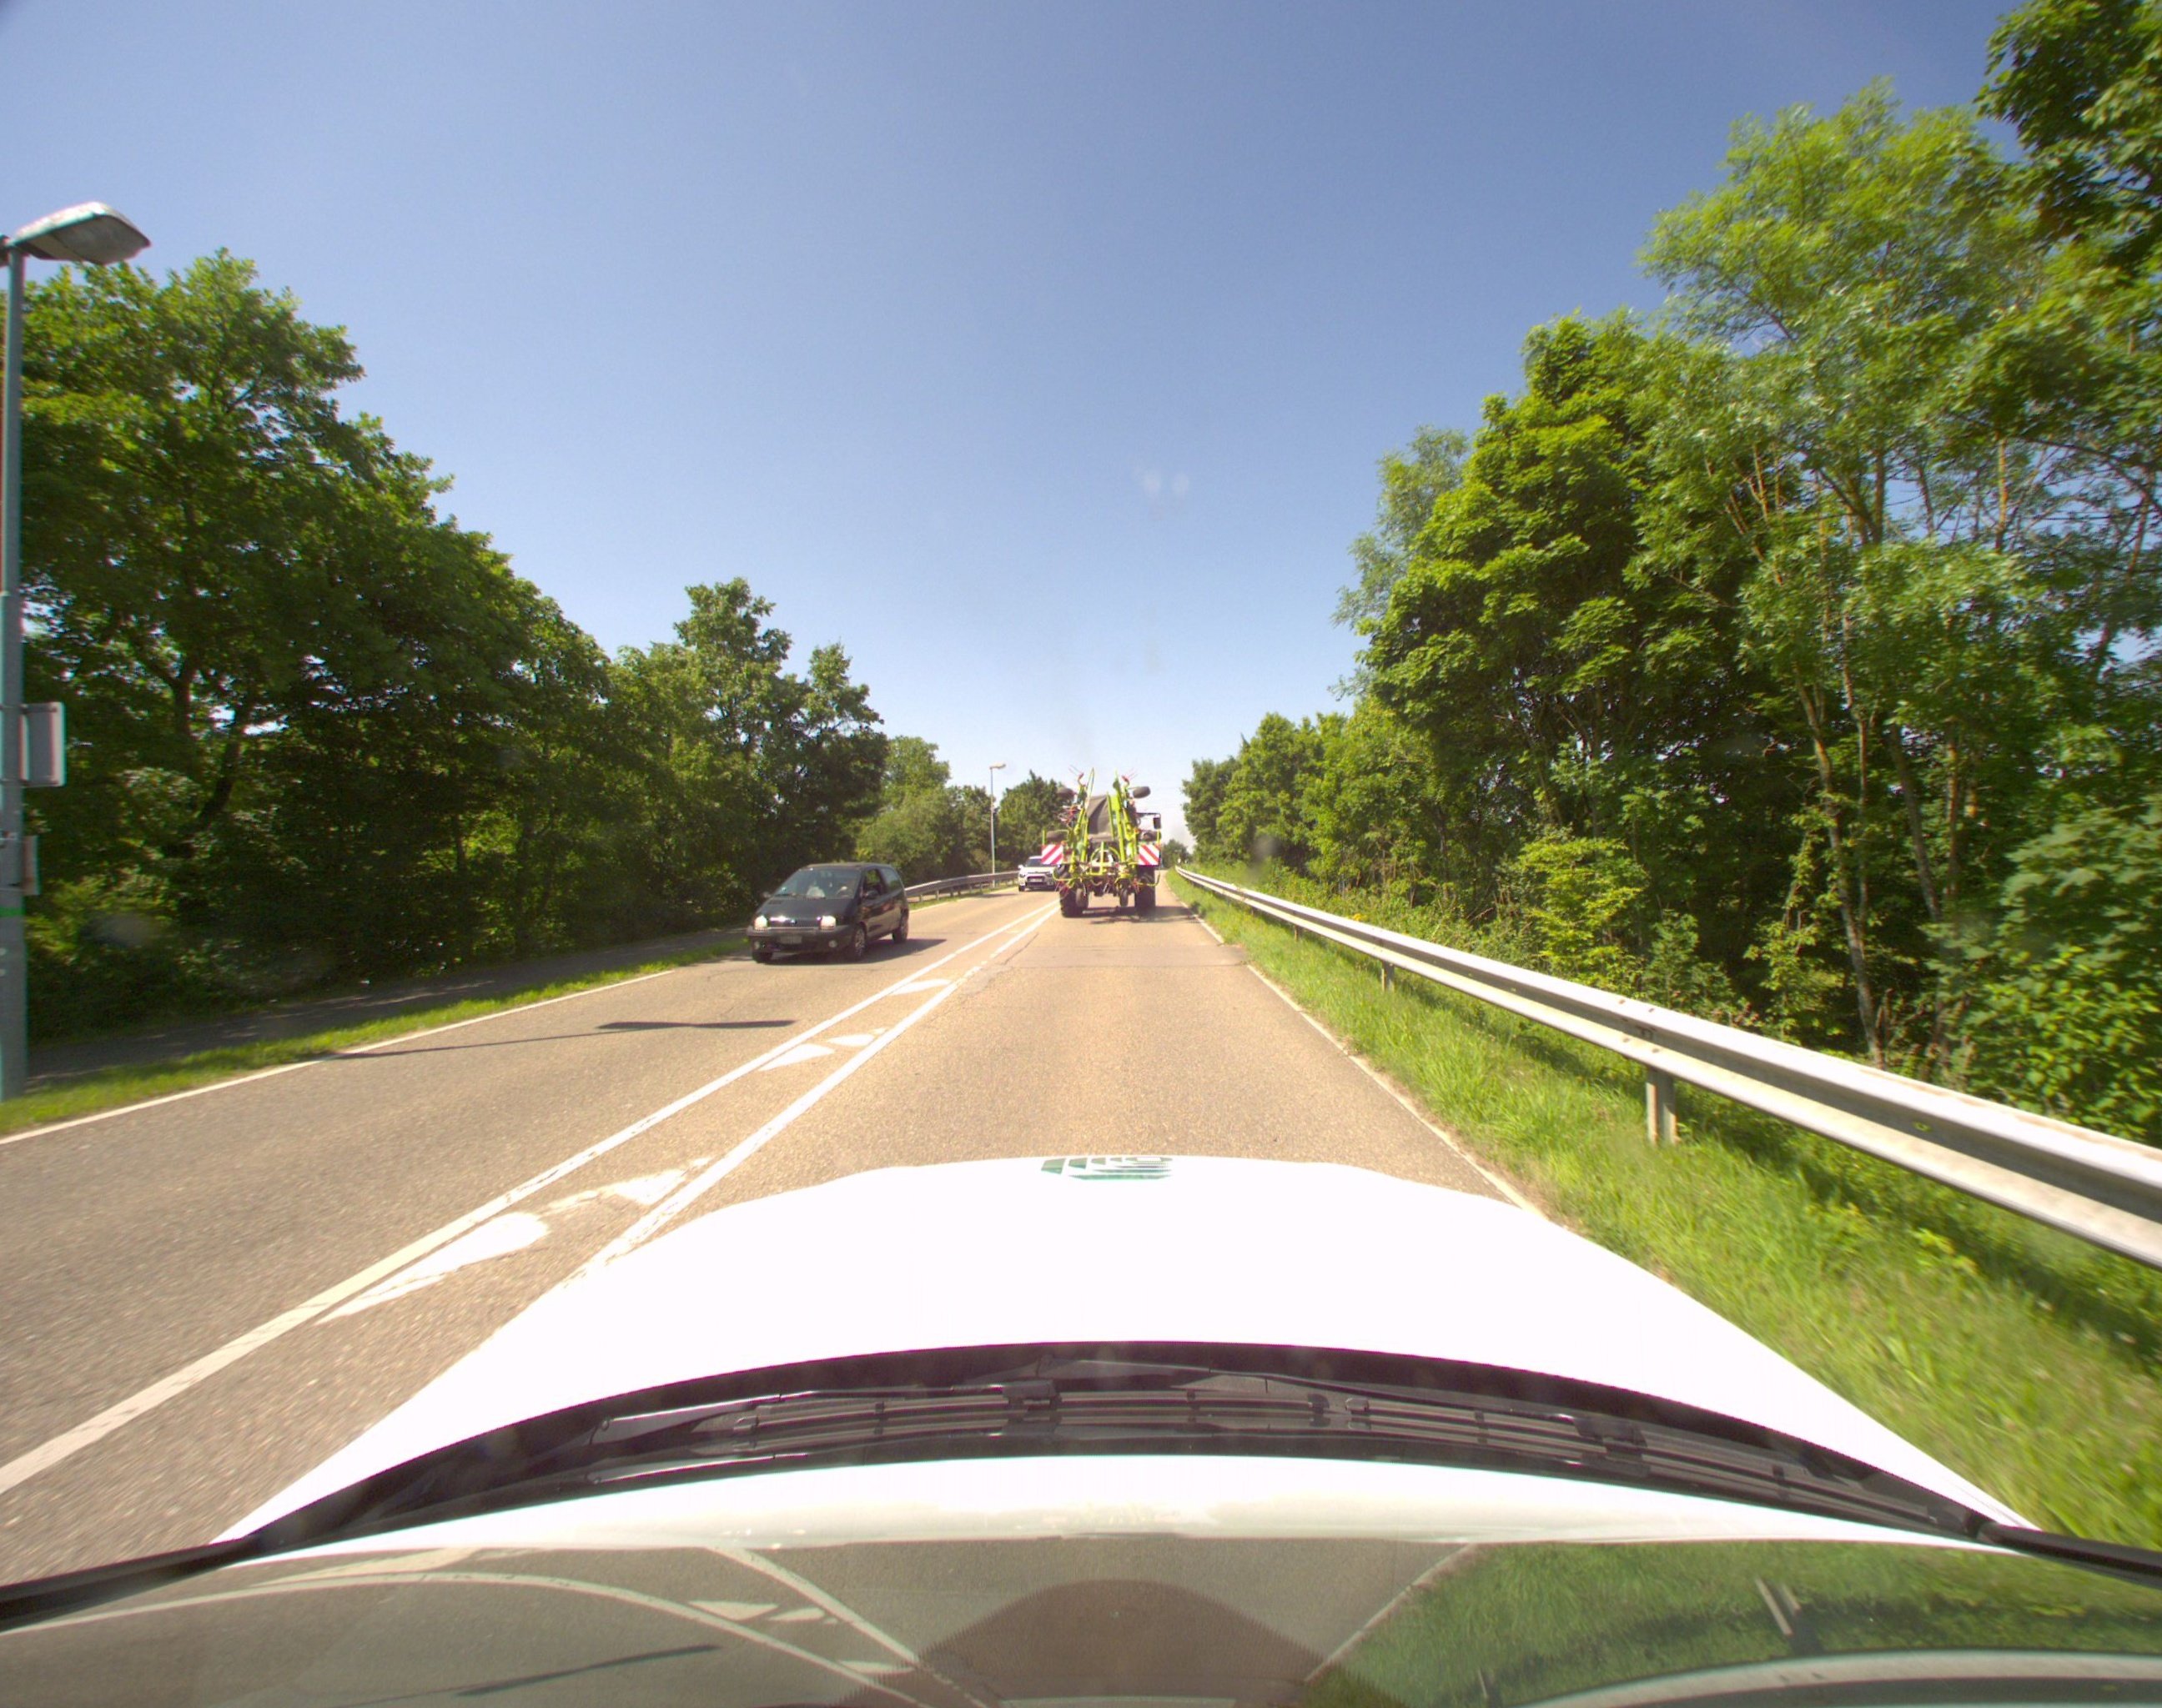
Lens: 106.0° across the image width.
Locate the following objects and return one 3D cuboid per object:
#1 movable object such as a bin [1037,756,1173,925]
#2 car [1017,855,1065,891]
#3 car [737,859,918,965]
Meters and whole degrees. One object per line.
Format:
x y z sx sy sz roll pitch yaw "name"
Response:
0.601 -0.272 19.756 2.744 3.444 5.673 -1 0 2 "movable object such as a bin"
-1.704 0.781 35.660 1.732 1.456 3.891 0 0 3 "car"
-3.930 0.834 13.227 1.619 1.404 3.437 -1 1 4 "car"
